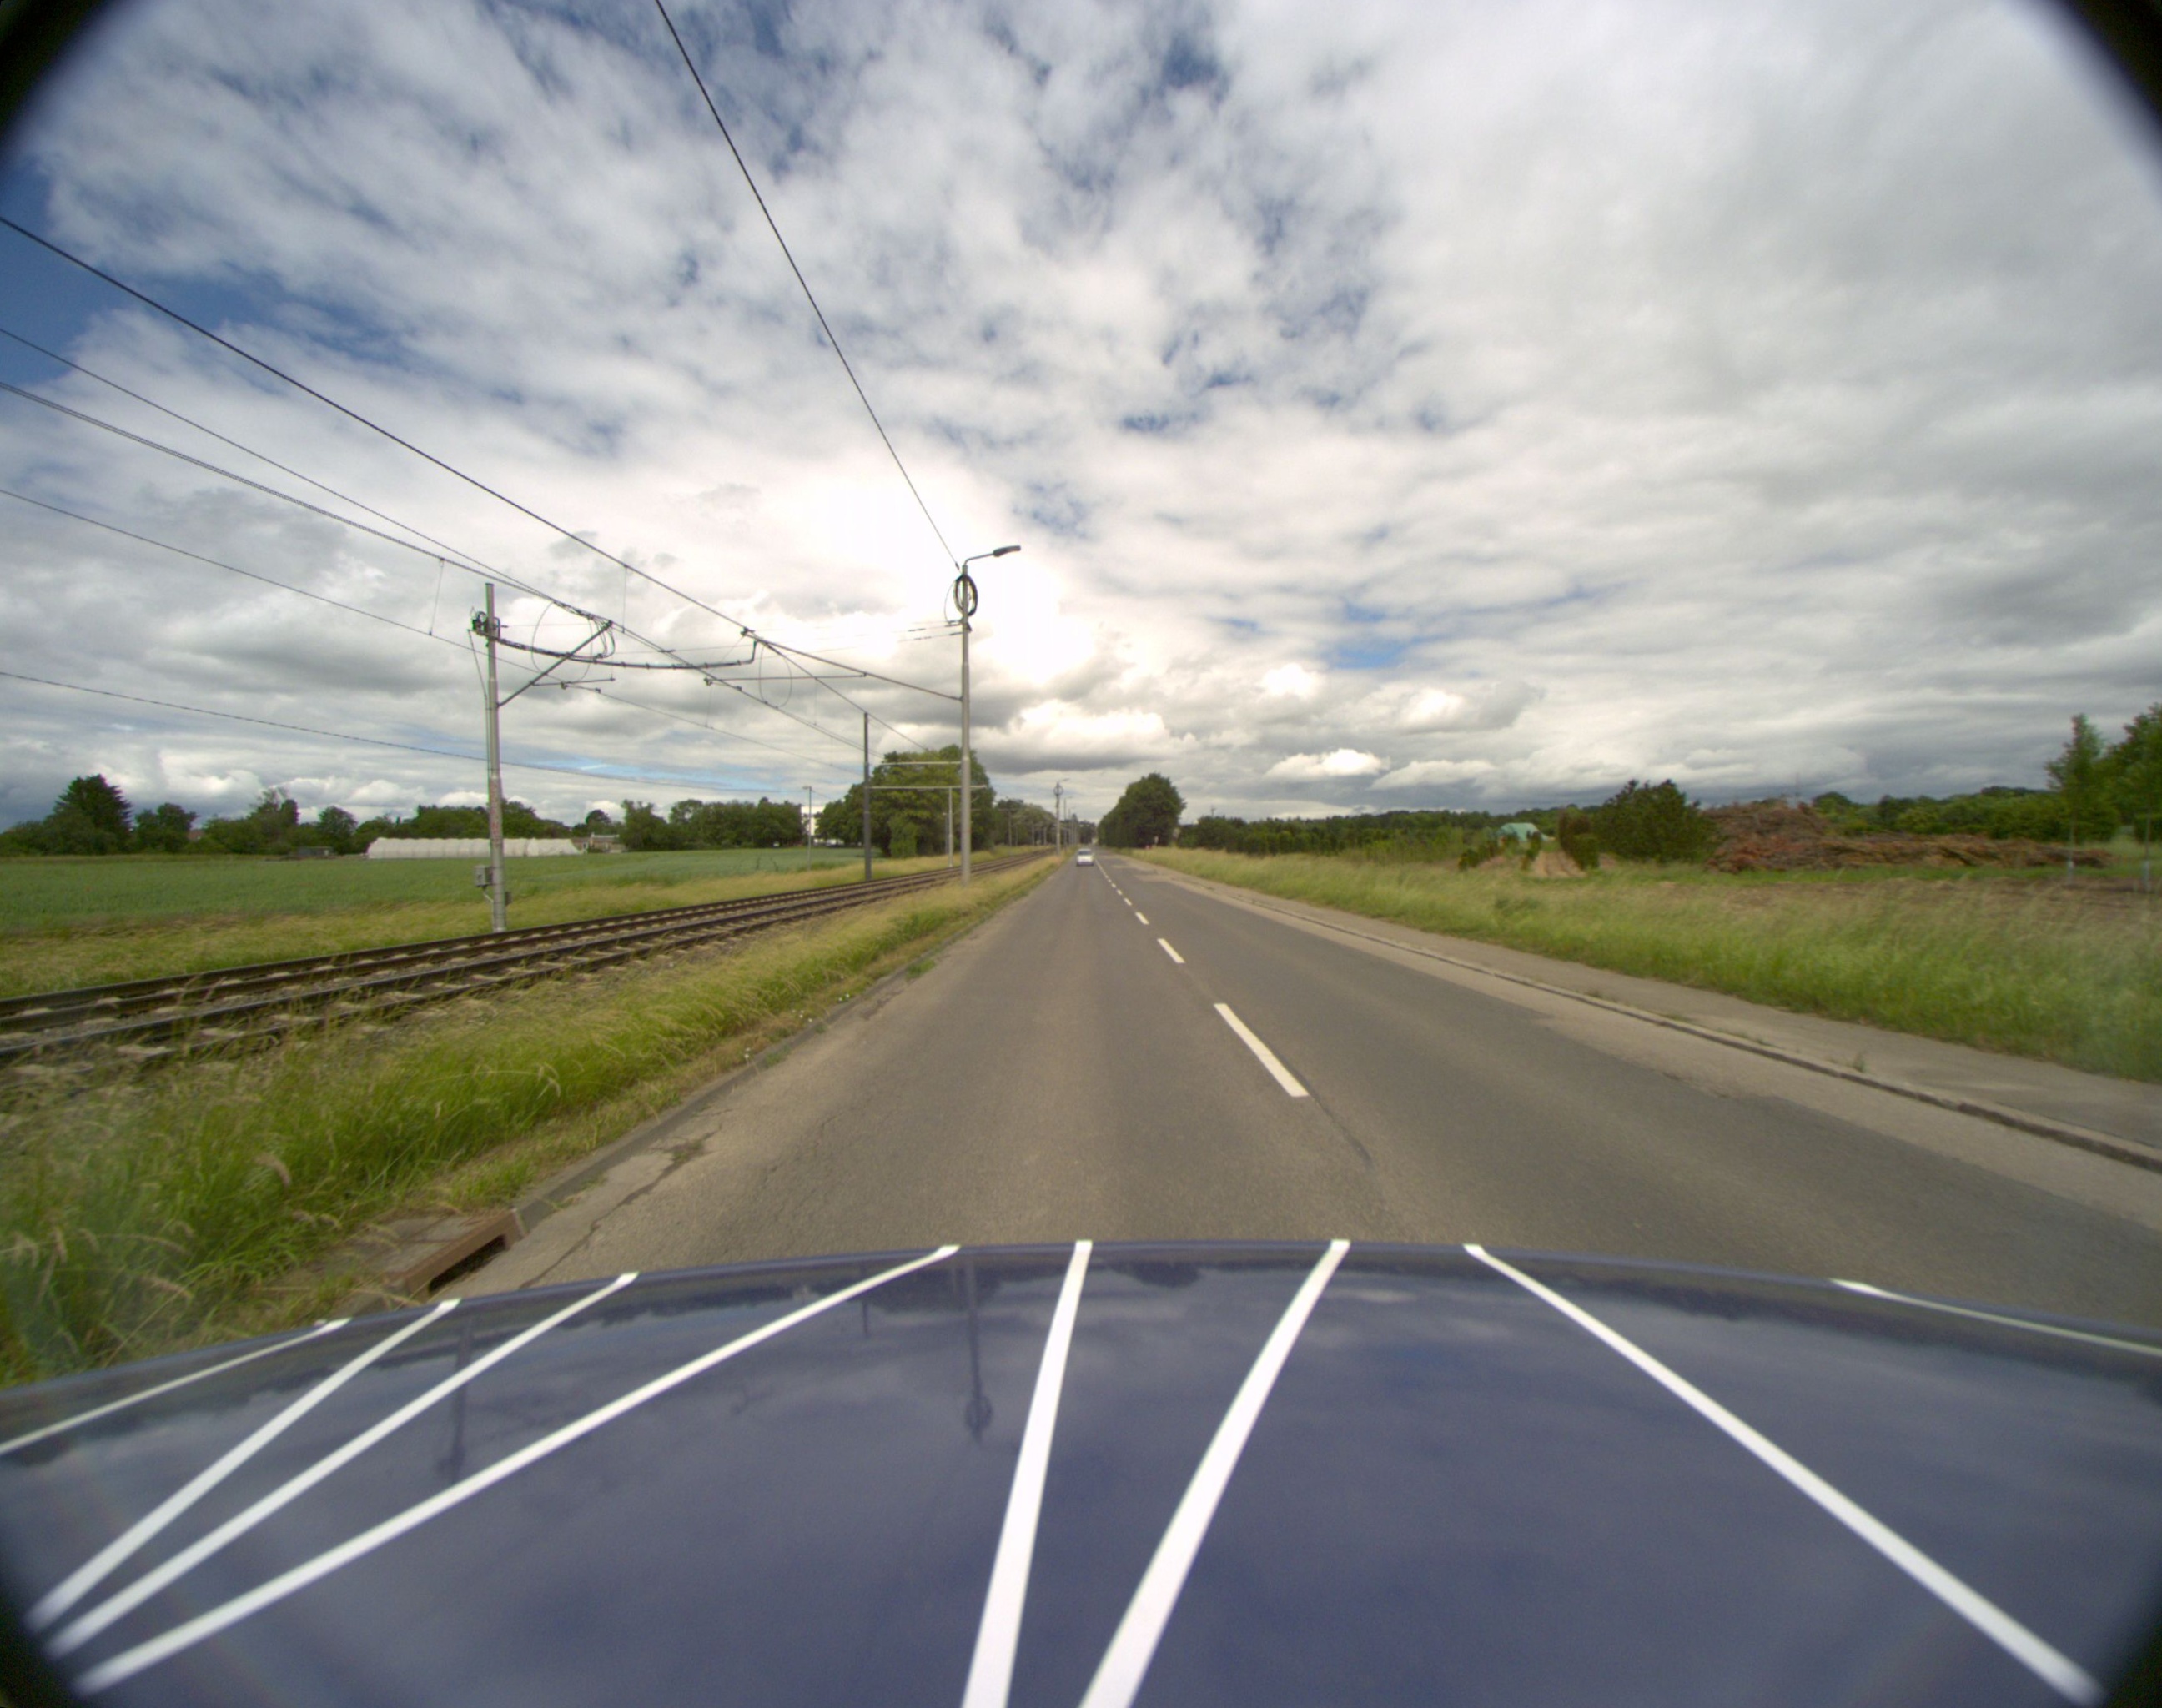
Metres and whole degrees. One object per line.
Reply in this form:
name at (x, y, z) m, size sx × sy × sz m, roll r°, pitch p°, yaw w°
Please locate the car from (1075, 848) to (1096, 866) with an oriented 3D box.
car at (0.375, 0.247, 74.620) m, size 1.999 × 1.679 × 3.999 m, roll -1°, pitch 1°, yaw -1°
